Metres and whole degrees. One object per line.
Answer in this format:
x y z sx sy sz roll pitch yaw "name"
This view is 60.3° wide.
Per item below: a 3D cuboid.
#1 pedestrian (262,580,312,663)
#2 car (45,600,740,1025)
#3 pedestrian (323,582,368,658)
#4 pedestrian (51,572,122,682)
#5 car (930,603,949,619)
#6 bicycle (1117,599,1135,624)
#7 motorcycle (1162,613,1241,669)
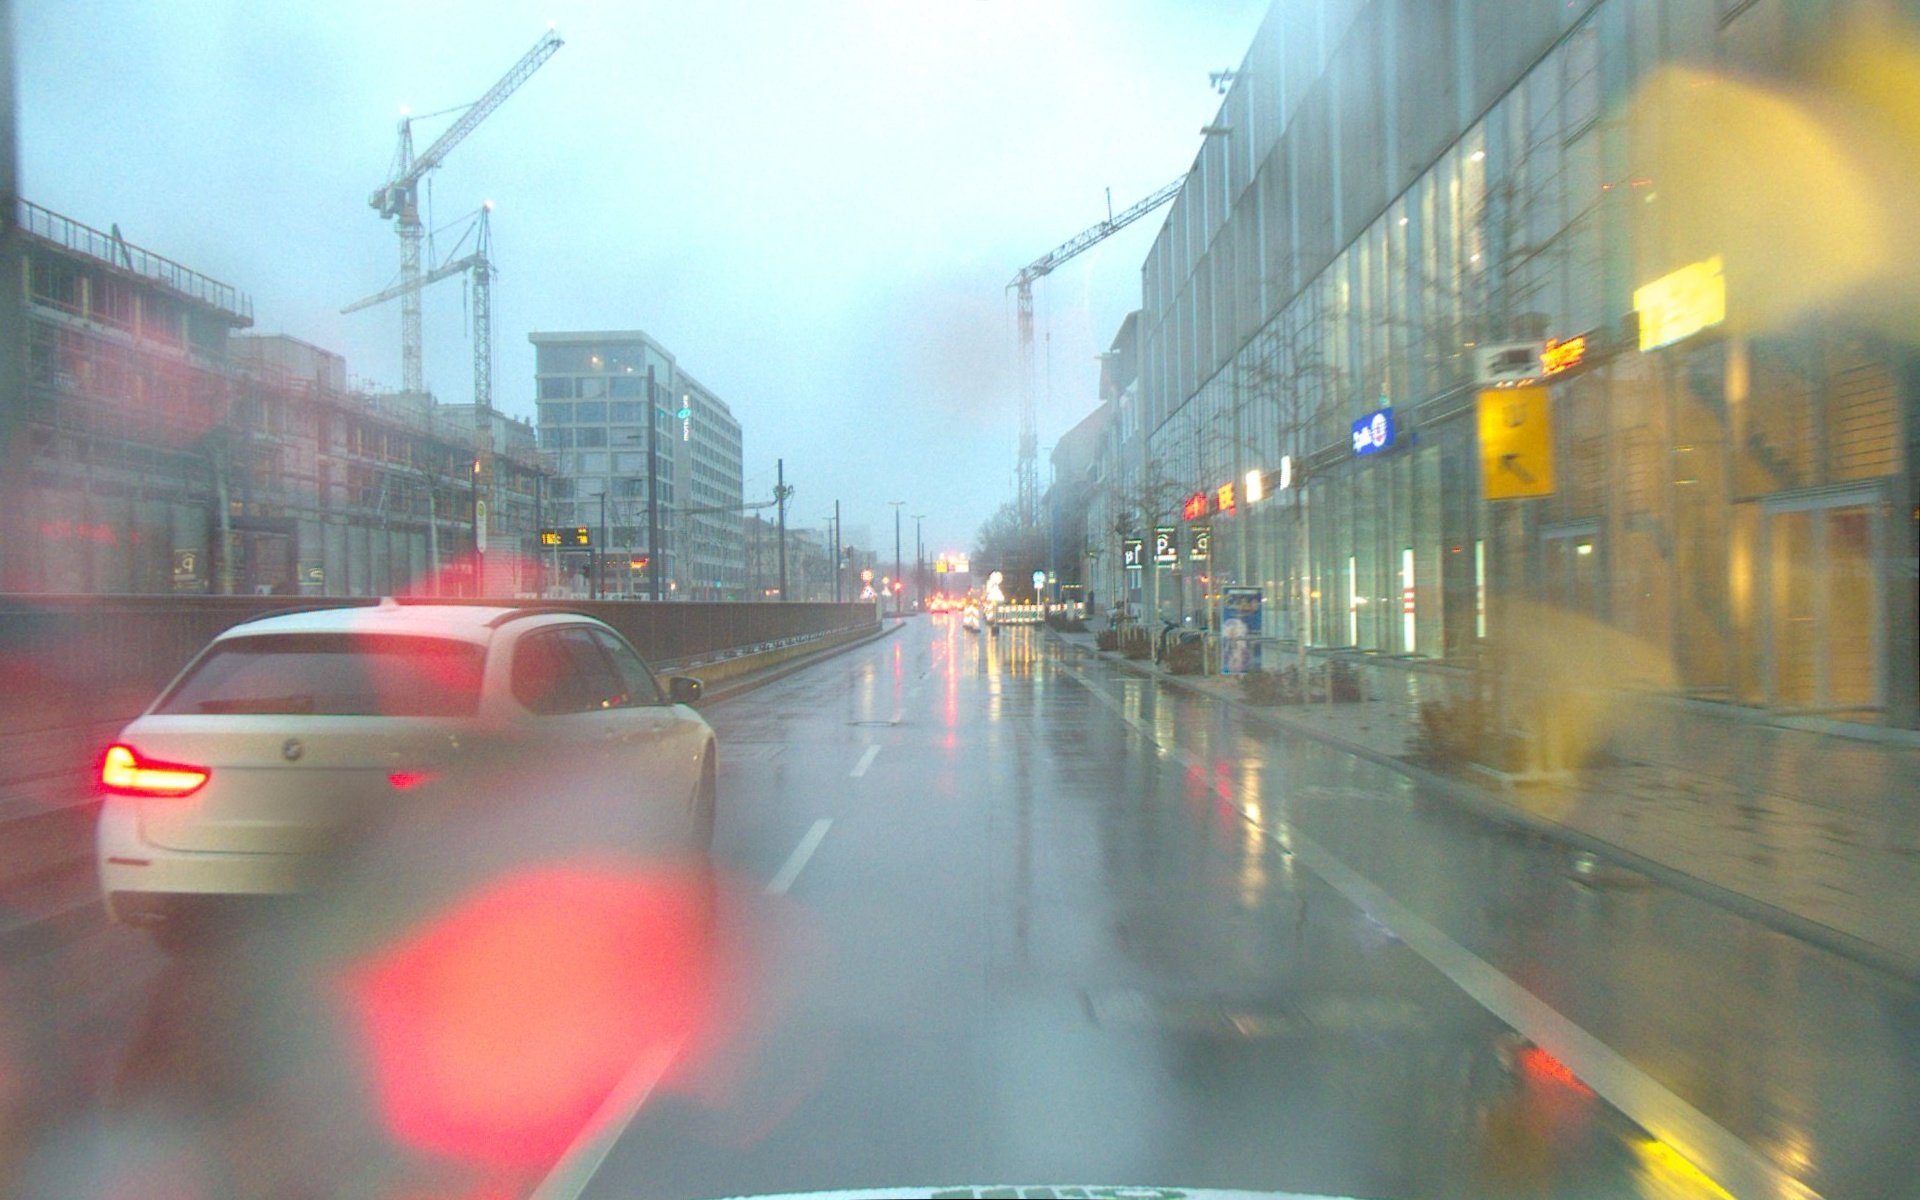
-13.064 0.413 32.121 0.571 1.577 0.741 0 0 11 "pedestrian"
-2.324 0.753 8.306 1.814 1.491 4.946 0 0 0 "car"
-12.945 0.420 34.857 0.571 1.577 0.741 0 0 11 "pedestrian"
-12.826 0.391 24.292 0.571 1.577 0.741 0 0 11 "pedestrian"
-2.180 1.131 176.922 1.862 1.670 4.000 0 0 1 "car"
8.790 0.604 87.869 0.668 1.243 1.905 -4 -1 -1 "bicycle"
5.919 1.006 40.557 1.874 1.357 0.592 -2 -2 41 "motorcycle"
